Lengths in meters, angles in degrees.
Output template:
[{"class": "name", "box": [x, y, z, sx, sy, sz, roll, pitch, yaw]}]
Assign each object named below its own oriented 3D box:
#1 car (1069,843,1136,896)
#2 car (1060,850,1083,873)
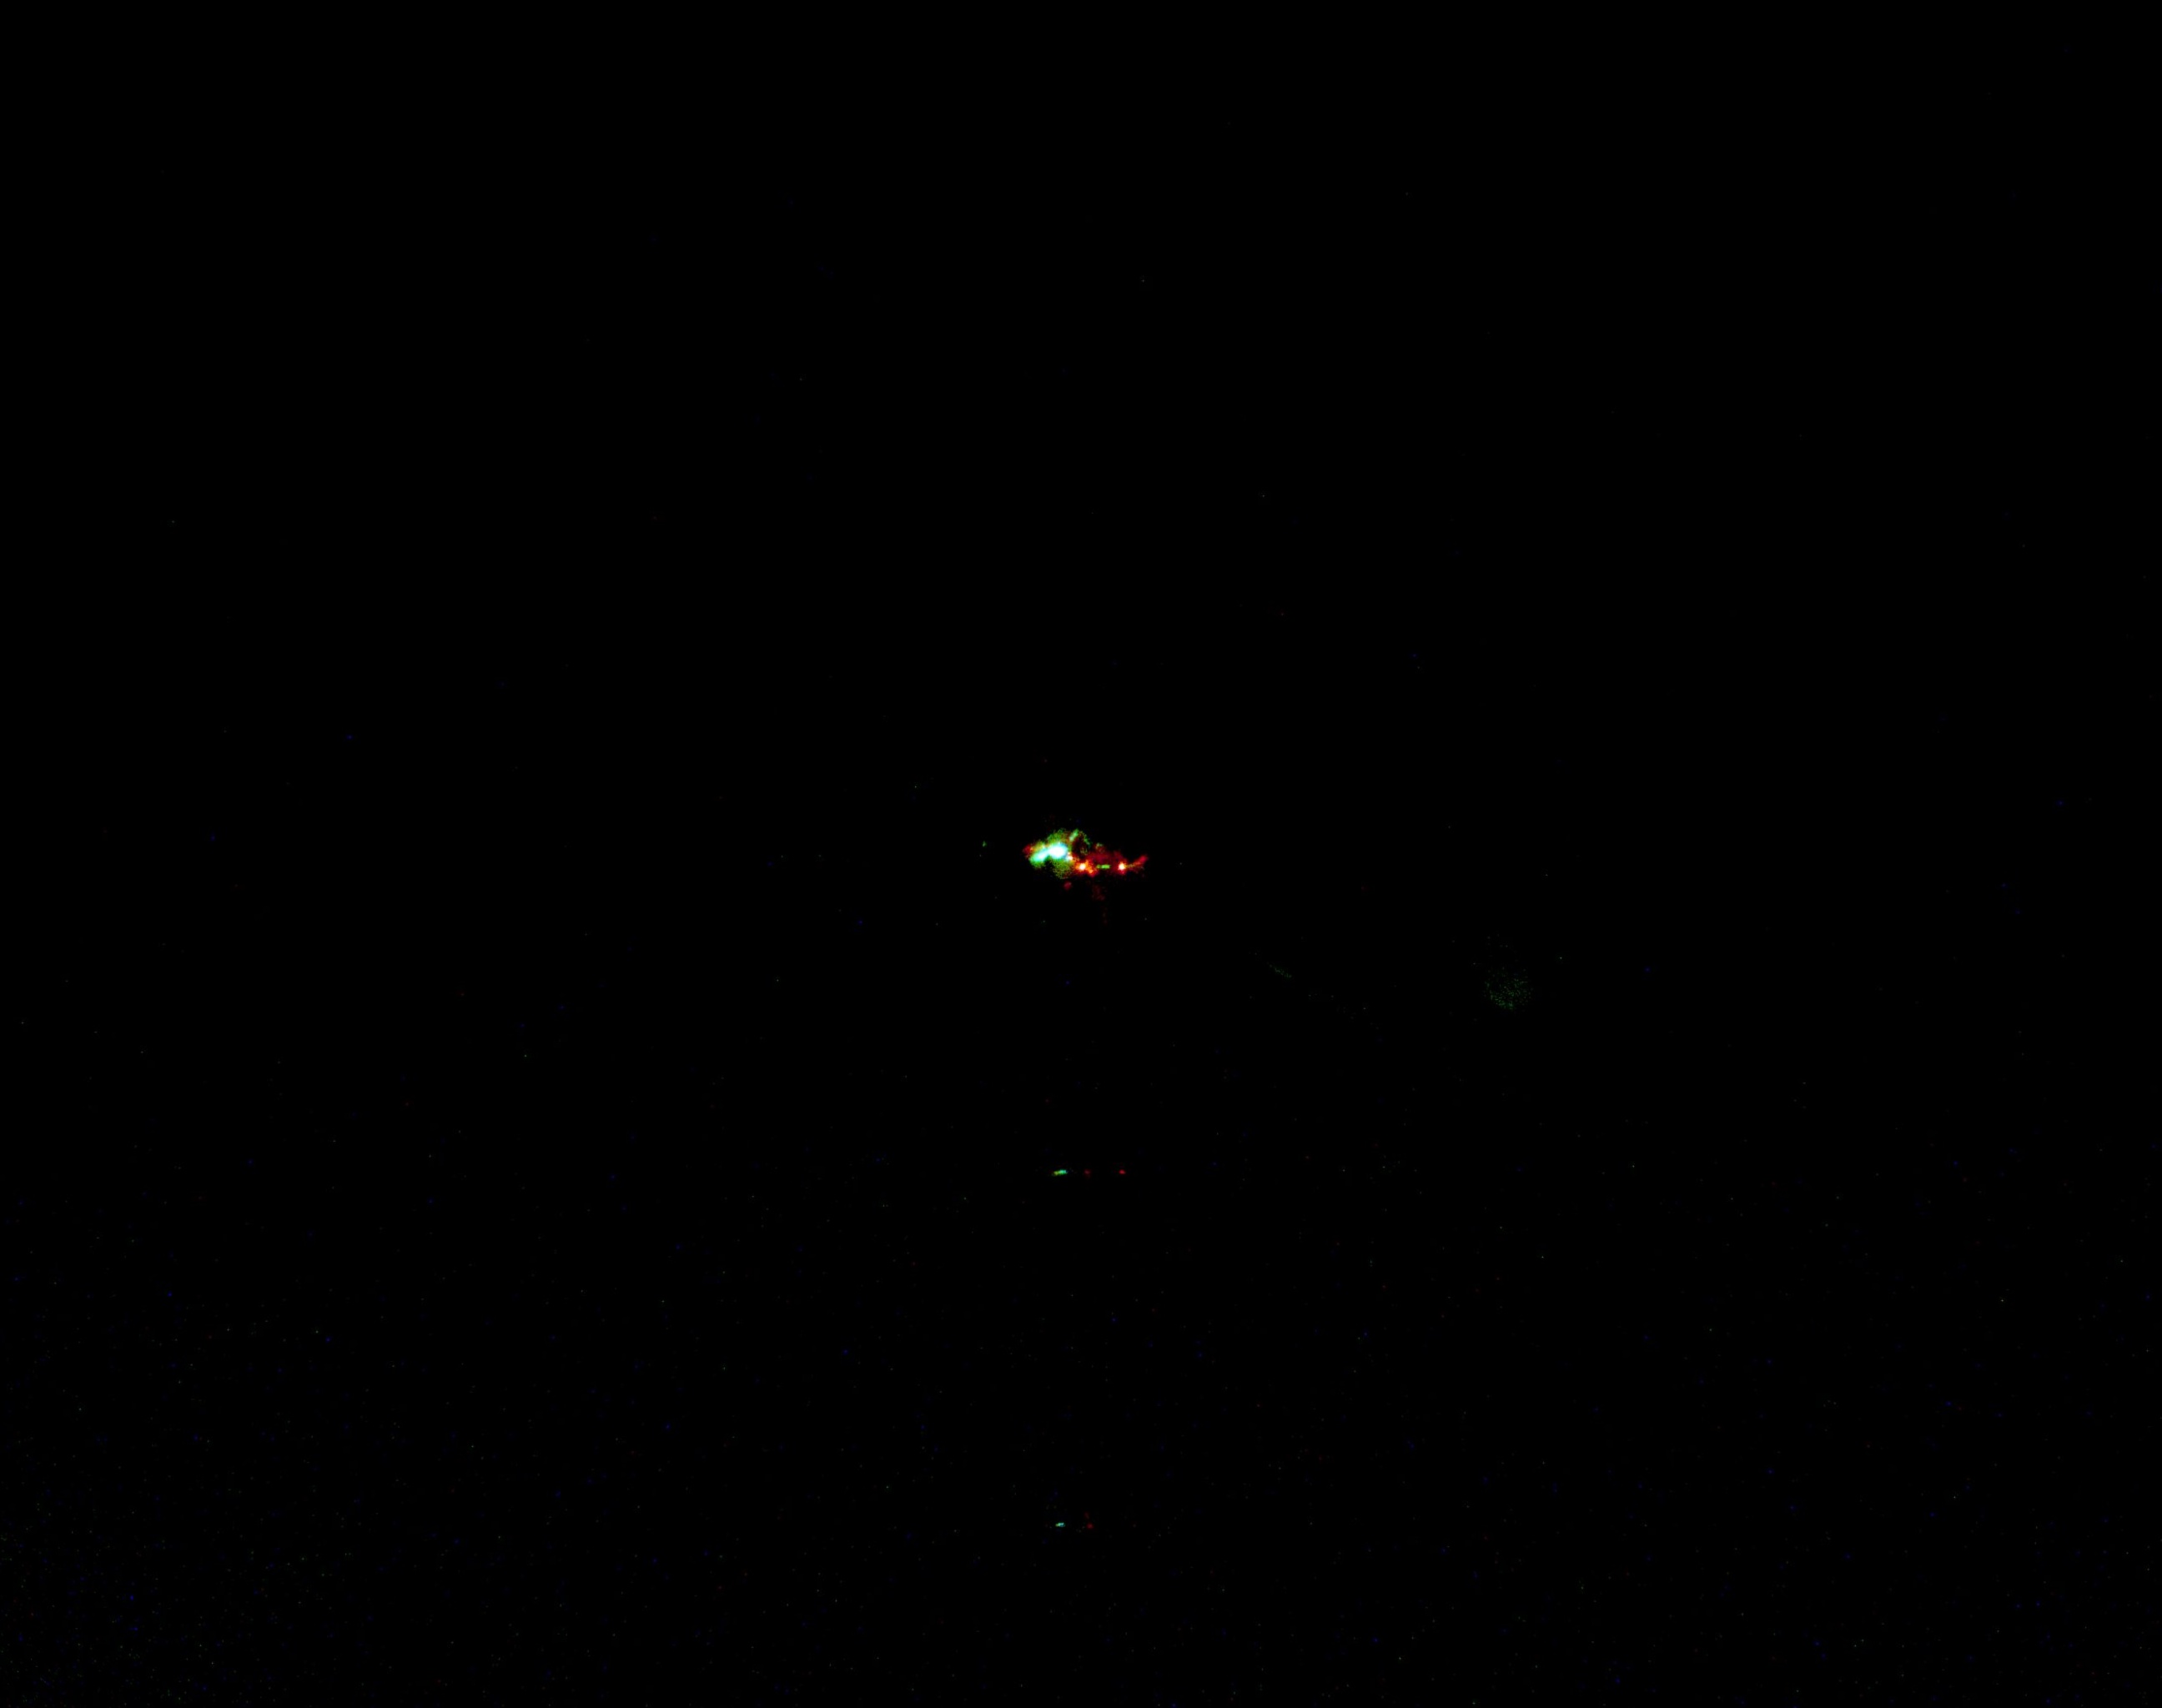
[{"class": "car", "box": [0.800, 0.602, 33.478, 2.451, 1.958, 4.908, -1, 0, -2]}, {"class": "car", "box": [-0.848, 0.680, 71.828, 1.988, 2.014, 3.998, 0, -1, -1]}]
